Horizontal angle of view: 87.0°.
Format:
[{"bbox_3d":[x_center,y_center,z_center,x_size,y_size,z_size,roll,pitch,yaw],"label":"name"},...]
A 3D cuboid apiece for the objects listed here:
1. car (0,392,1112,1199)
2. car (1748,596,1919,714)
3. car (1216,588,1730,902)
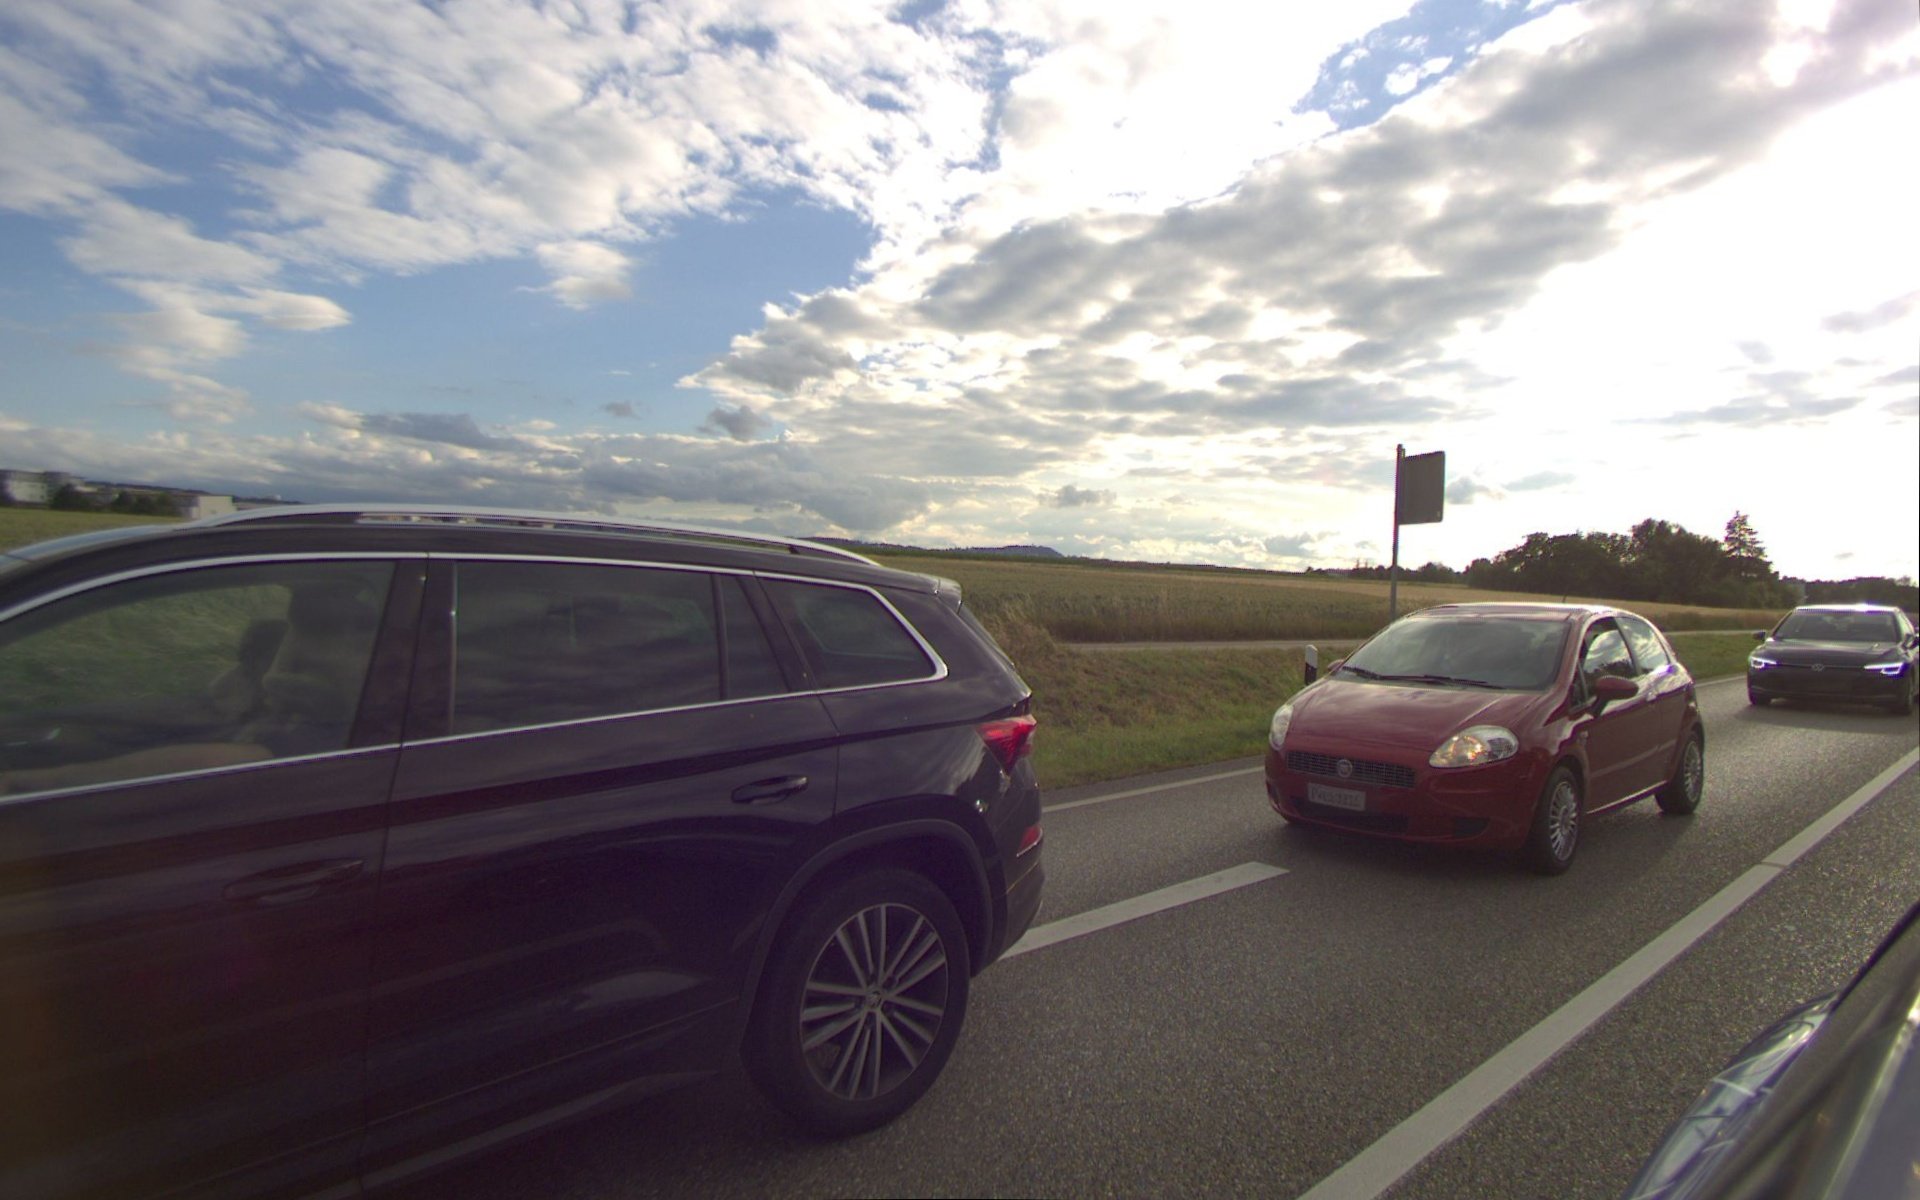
[{"bbox_3d":[-1.791,0.534,2.557,4.477,1.730,1.839,-1,0,-41],"label":"car"},{"bbox_3d":[13.150,0.694,14.828,3.962,1.475,1.797,0,0,-41],"label":"car"},{"bbox_3d":[3.551,0.670,6.704,3.840,1.475,1.710,-1,0,-41],"label":"car"}]
